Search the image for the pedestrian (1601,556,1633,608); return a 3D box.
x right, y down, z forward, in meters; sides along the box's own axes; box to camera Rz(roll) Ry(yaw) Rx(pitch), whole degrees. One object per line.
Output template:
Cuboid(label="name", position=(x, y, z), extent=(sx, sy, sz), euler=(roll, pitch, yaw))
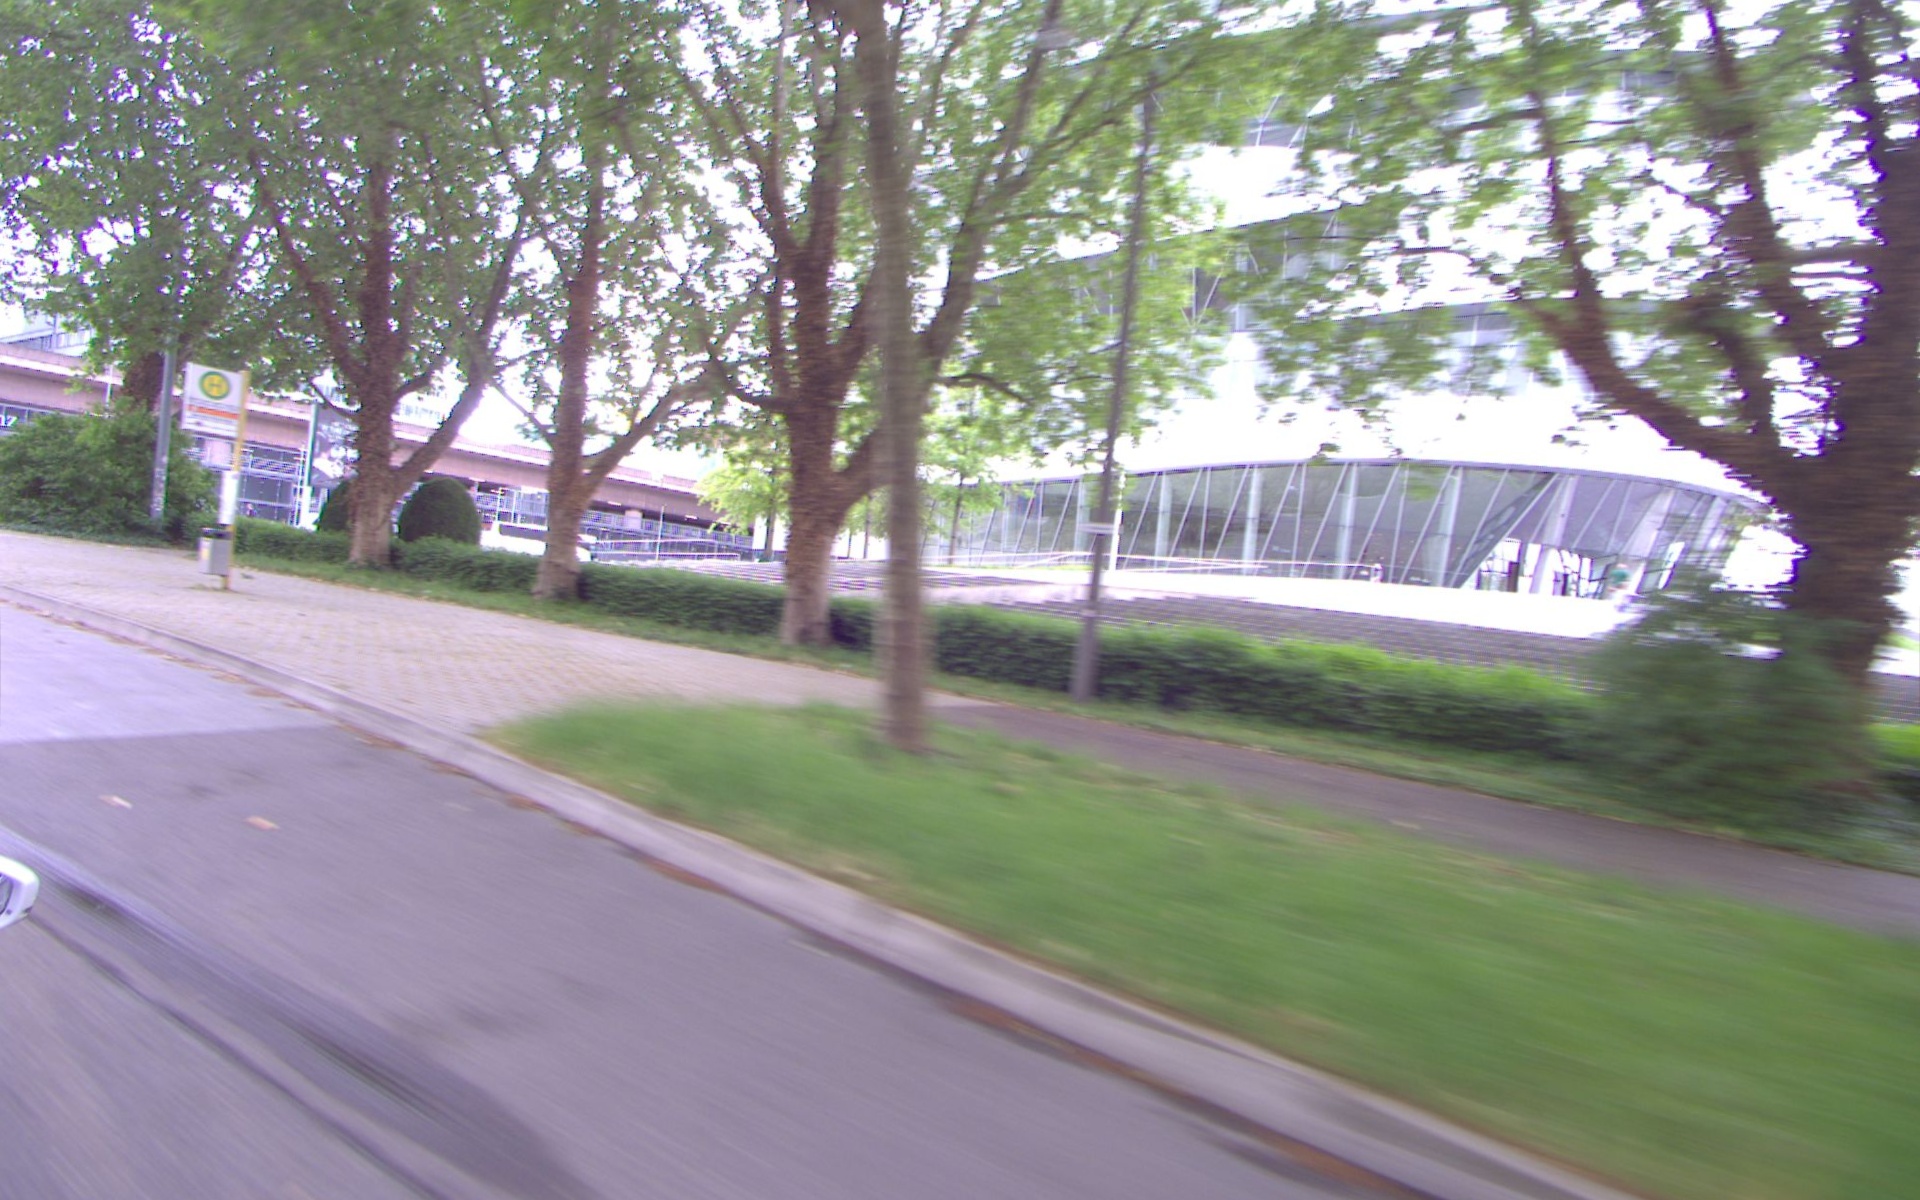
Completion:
Cuboid(label="pedestrian", position=(24.191, -0.660, 37.040), extent=(0.831, 1.786, 0.673), euler=(7, 0, -43))

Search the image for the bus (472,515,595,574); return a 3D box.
Cuboid(label="bus", position=(-39.729, -5.058, 94.310), extent=(2.710, 3.981, 11.075), euler=(7, -1, 27))
